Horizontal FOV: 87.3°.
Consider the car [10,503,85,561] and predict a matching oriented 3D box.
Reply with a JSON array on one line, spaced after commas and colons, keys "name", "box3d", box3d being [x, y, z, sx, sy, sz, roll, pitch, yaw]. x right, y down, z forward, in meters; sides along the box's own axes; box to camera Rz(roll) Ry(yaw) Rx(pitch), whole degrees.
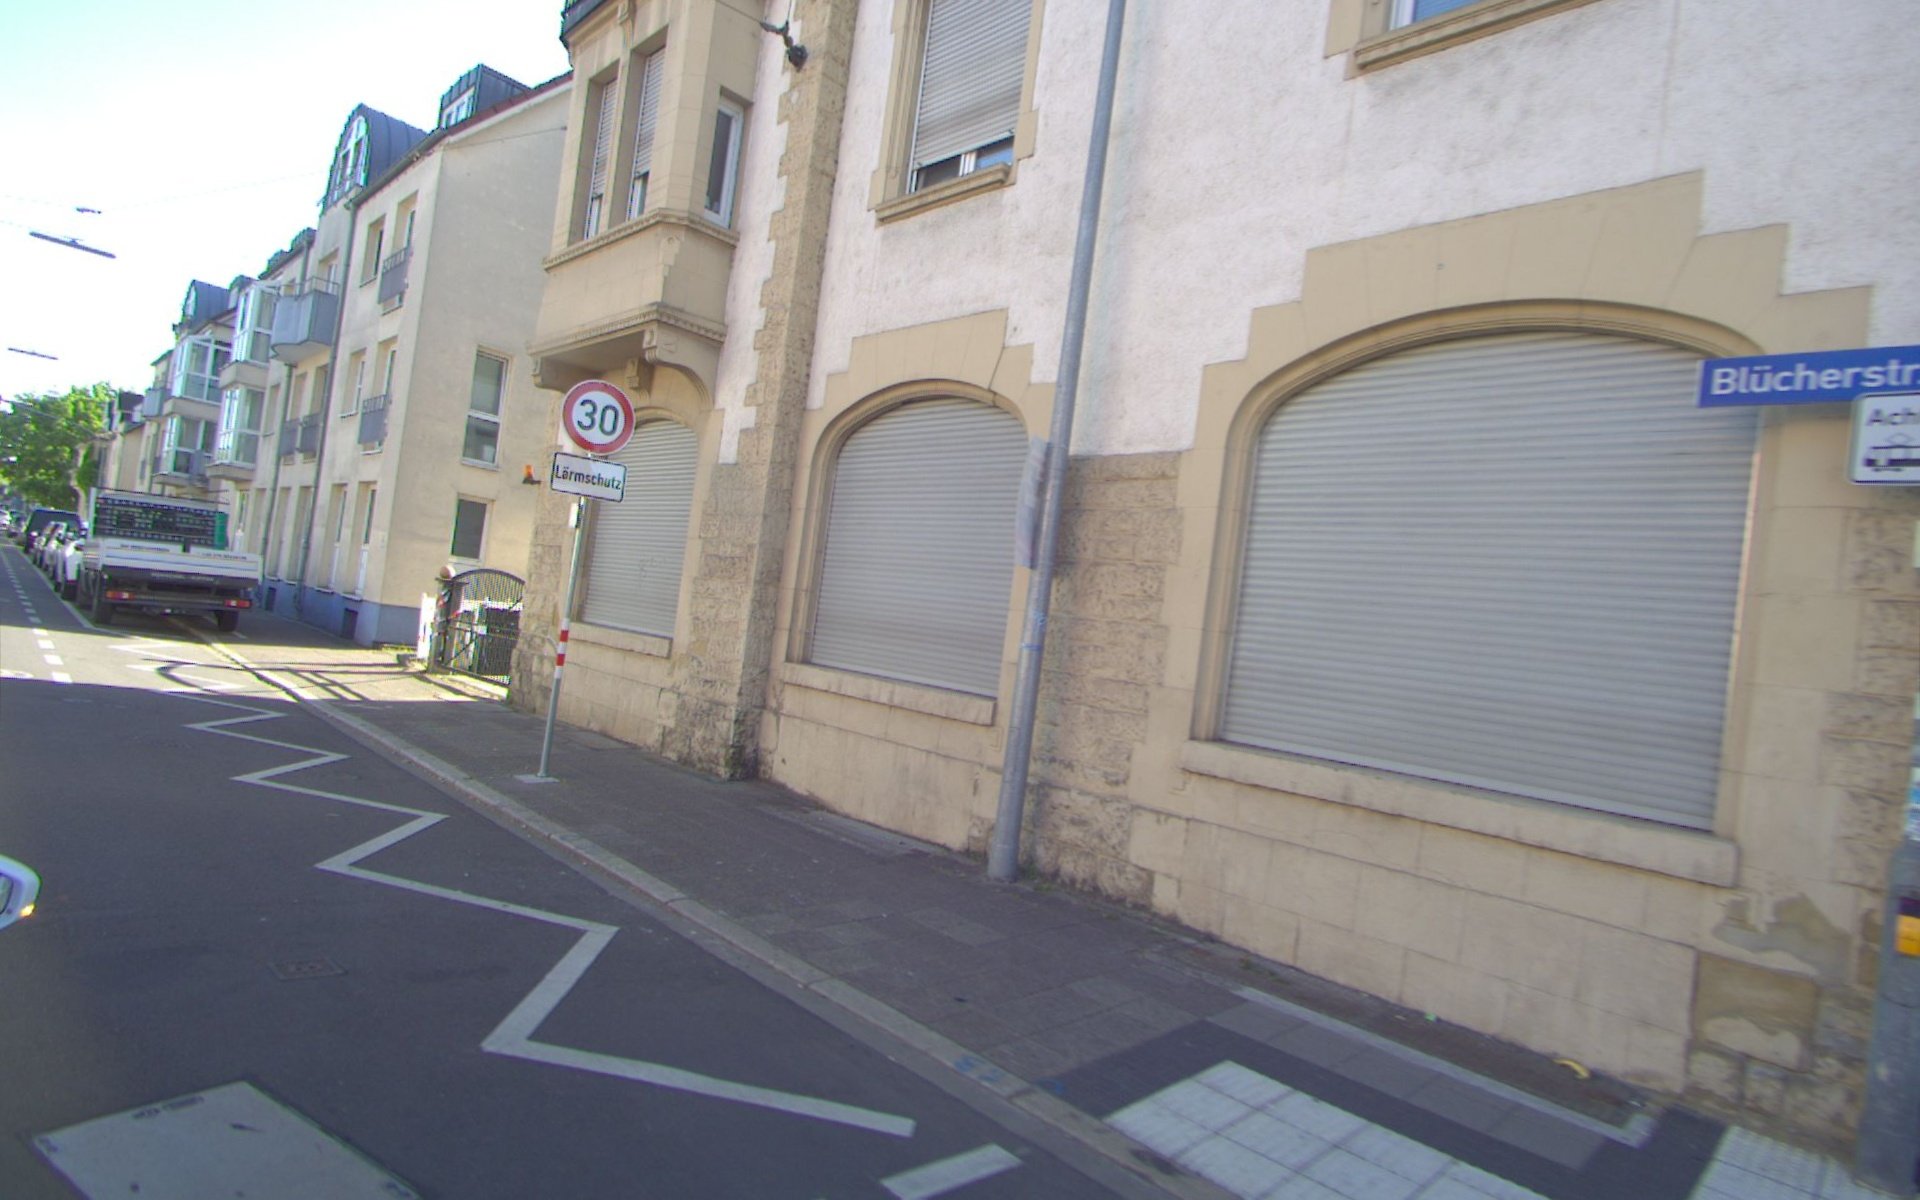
[{"name": "car", "box3d": [-38.719, -2.896, 42.648, 4.504, 2.009, 1.904, 6, -4, 44]}]

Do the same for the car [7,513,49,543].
[{"name": "car", "box3d": [-59.526, -4.584, 64.239, 3.502, 1.542, 1.600, 6, -4, 43]}]

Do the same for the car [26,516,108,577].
[{"name": "car", "box3d": [-28.787, -1.732, 32.402, 3.605, 1.574, 1.552, 6, -4, 44]}]

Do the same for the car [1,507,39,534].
[{"name": "car", "box3d": [-65.327, -5.523, 69.877, 1.663, 1.581, 3.723, 11, -4, -45]}]

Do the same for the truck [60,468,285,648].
[{"name": "truck", "box3d": [-14.202, -0.794, 17.960, 2.291, 2.506, 6.069, 9, -2, -44]}]

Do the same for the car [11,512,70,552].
[{"name": "car", "box3d": [-46.869, -3.481, 51.262, 4.375, 1.616, 1.743, 6, -4, 43]}]

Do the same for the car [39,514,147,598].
[{"name": "car", "box3d": [-22.237, -1.159, 25.749, 3.938, 1.718, 1.601, 6, -4, 44]}]

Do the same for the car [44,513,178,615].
[{"name": "car", "box3d": [-18.632, -0.834, 22.012, 1.737, 1.765, 4.202, 11, -4, -44]}]

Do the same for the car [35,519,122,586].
[{"name": "car", "box3d": [-25.899, -1.408, 29.527, 3.321, 1.574, 1.495, 6, -4, 44]}]

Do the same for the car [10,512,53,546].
[{"name": "car", "box3d": [-53.692, -4.088, 58.171, 3.250, 1.616, 1.456, 6, -4, 43]}]
